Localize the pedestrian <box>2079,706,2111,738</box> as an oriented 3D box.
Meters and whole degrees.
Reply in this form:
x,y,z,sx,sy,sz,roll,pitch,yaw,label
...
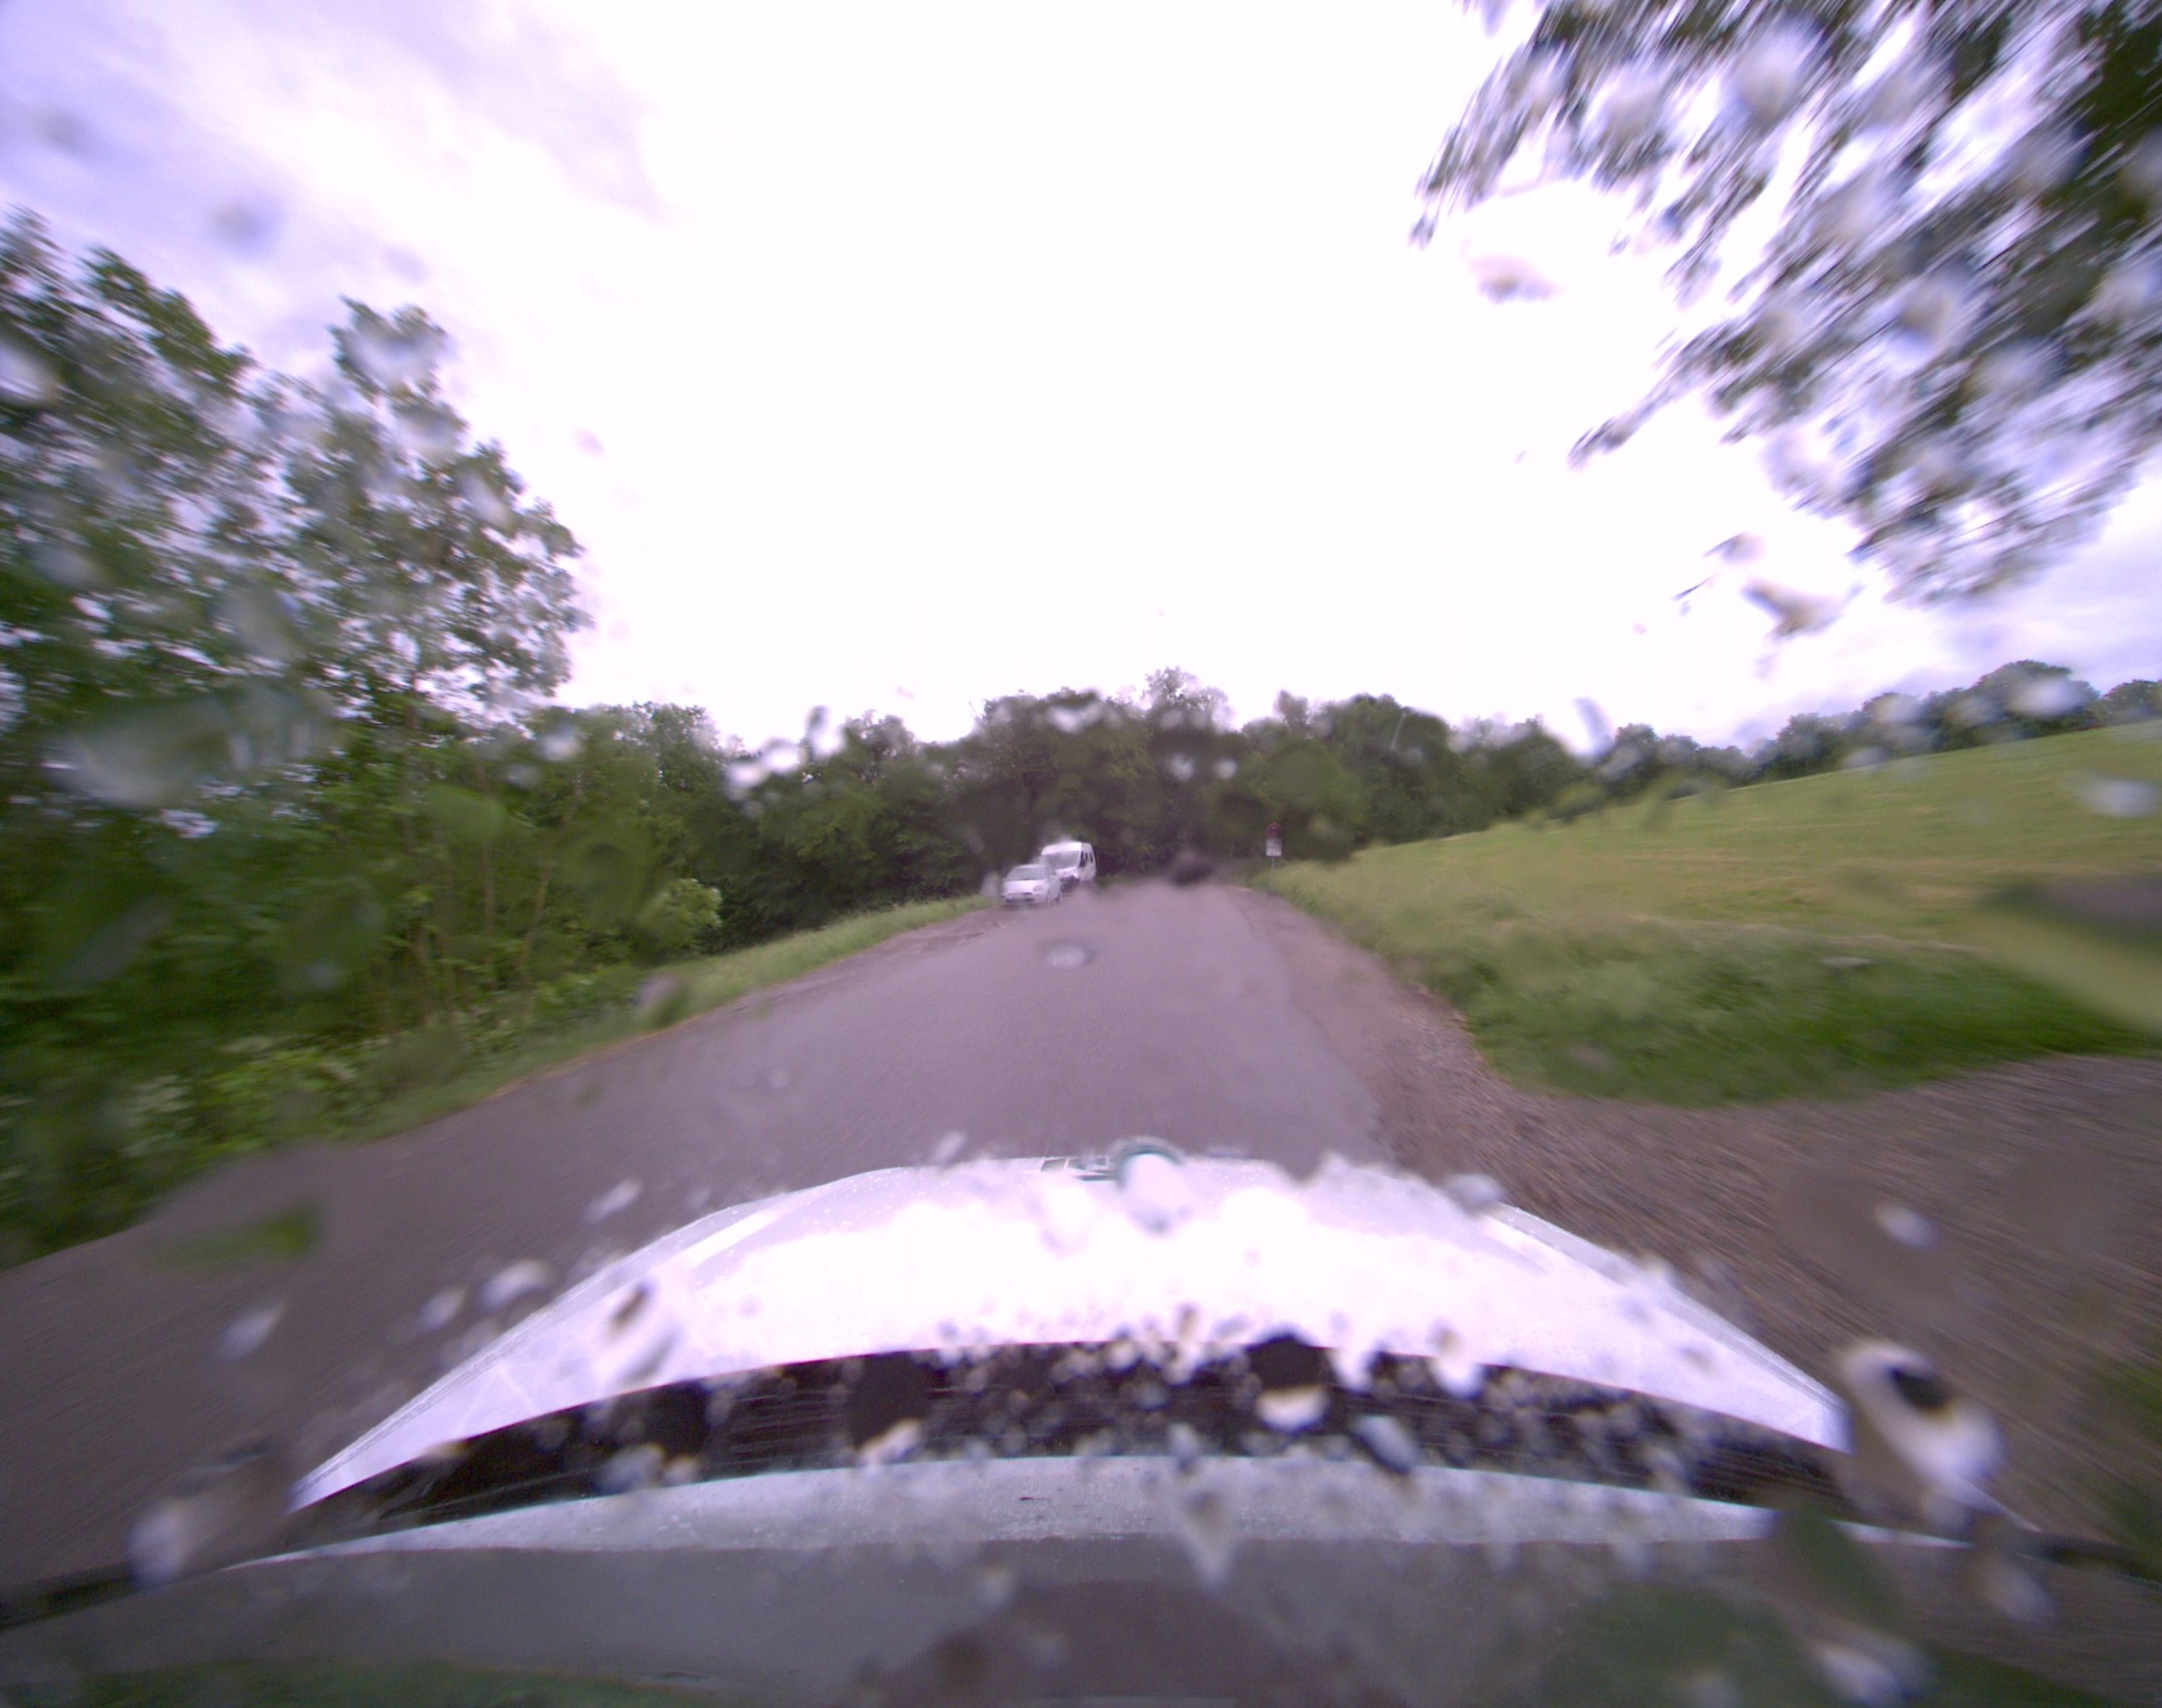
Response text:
x,y,z,sx,sy,sz,roll,pitch,yaw,label
61.505,-8.008,49.401,0.917,1.736,0.808,-2,0,27,pedestrian

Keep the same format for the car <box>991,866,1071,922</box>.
x,y,z,sx,sy,sz,roll,pitch,yaw,label
-1.670,1.359,28.822,1.851,1.595,4.505,-5,0,8,car

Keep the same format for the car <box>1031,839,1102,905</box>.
x,y,z,sx,sy,sz,roll,pitch,yaw,label
-0.570,0.758,38.716,2.260,2.697,6.062,-6,0,8,car
